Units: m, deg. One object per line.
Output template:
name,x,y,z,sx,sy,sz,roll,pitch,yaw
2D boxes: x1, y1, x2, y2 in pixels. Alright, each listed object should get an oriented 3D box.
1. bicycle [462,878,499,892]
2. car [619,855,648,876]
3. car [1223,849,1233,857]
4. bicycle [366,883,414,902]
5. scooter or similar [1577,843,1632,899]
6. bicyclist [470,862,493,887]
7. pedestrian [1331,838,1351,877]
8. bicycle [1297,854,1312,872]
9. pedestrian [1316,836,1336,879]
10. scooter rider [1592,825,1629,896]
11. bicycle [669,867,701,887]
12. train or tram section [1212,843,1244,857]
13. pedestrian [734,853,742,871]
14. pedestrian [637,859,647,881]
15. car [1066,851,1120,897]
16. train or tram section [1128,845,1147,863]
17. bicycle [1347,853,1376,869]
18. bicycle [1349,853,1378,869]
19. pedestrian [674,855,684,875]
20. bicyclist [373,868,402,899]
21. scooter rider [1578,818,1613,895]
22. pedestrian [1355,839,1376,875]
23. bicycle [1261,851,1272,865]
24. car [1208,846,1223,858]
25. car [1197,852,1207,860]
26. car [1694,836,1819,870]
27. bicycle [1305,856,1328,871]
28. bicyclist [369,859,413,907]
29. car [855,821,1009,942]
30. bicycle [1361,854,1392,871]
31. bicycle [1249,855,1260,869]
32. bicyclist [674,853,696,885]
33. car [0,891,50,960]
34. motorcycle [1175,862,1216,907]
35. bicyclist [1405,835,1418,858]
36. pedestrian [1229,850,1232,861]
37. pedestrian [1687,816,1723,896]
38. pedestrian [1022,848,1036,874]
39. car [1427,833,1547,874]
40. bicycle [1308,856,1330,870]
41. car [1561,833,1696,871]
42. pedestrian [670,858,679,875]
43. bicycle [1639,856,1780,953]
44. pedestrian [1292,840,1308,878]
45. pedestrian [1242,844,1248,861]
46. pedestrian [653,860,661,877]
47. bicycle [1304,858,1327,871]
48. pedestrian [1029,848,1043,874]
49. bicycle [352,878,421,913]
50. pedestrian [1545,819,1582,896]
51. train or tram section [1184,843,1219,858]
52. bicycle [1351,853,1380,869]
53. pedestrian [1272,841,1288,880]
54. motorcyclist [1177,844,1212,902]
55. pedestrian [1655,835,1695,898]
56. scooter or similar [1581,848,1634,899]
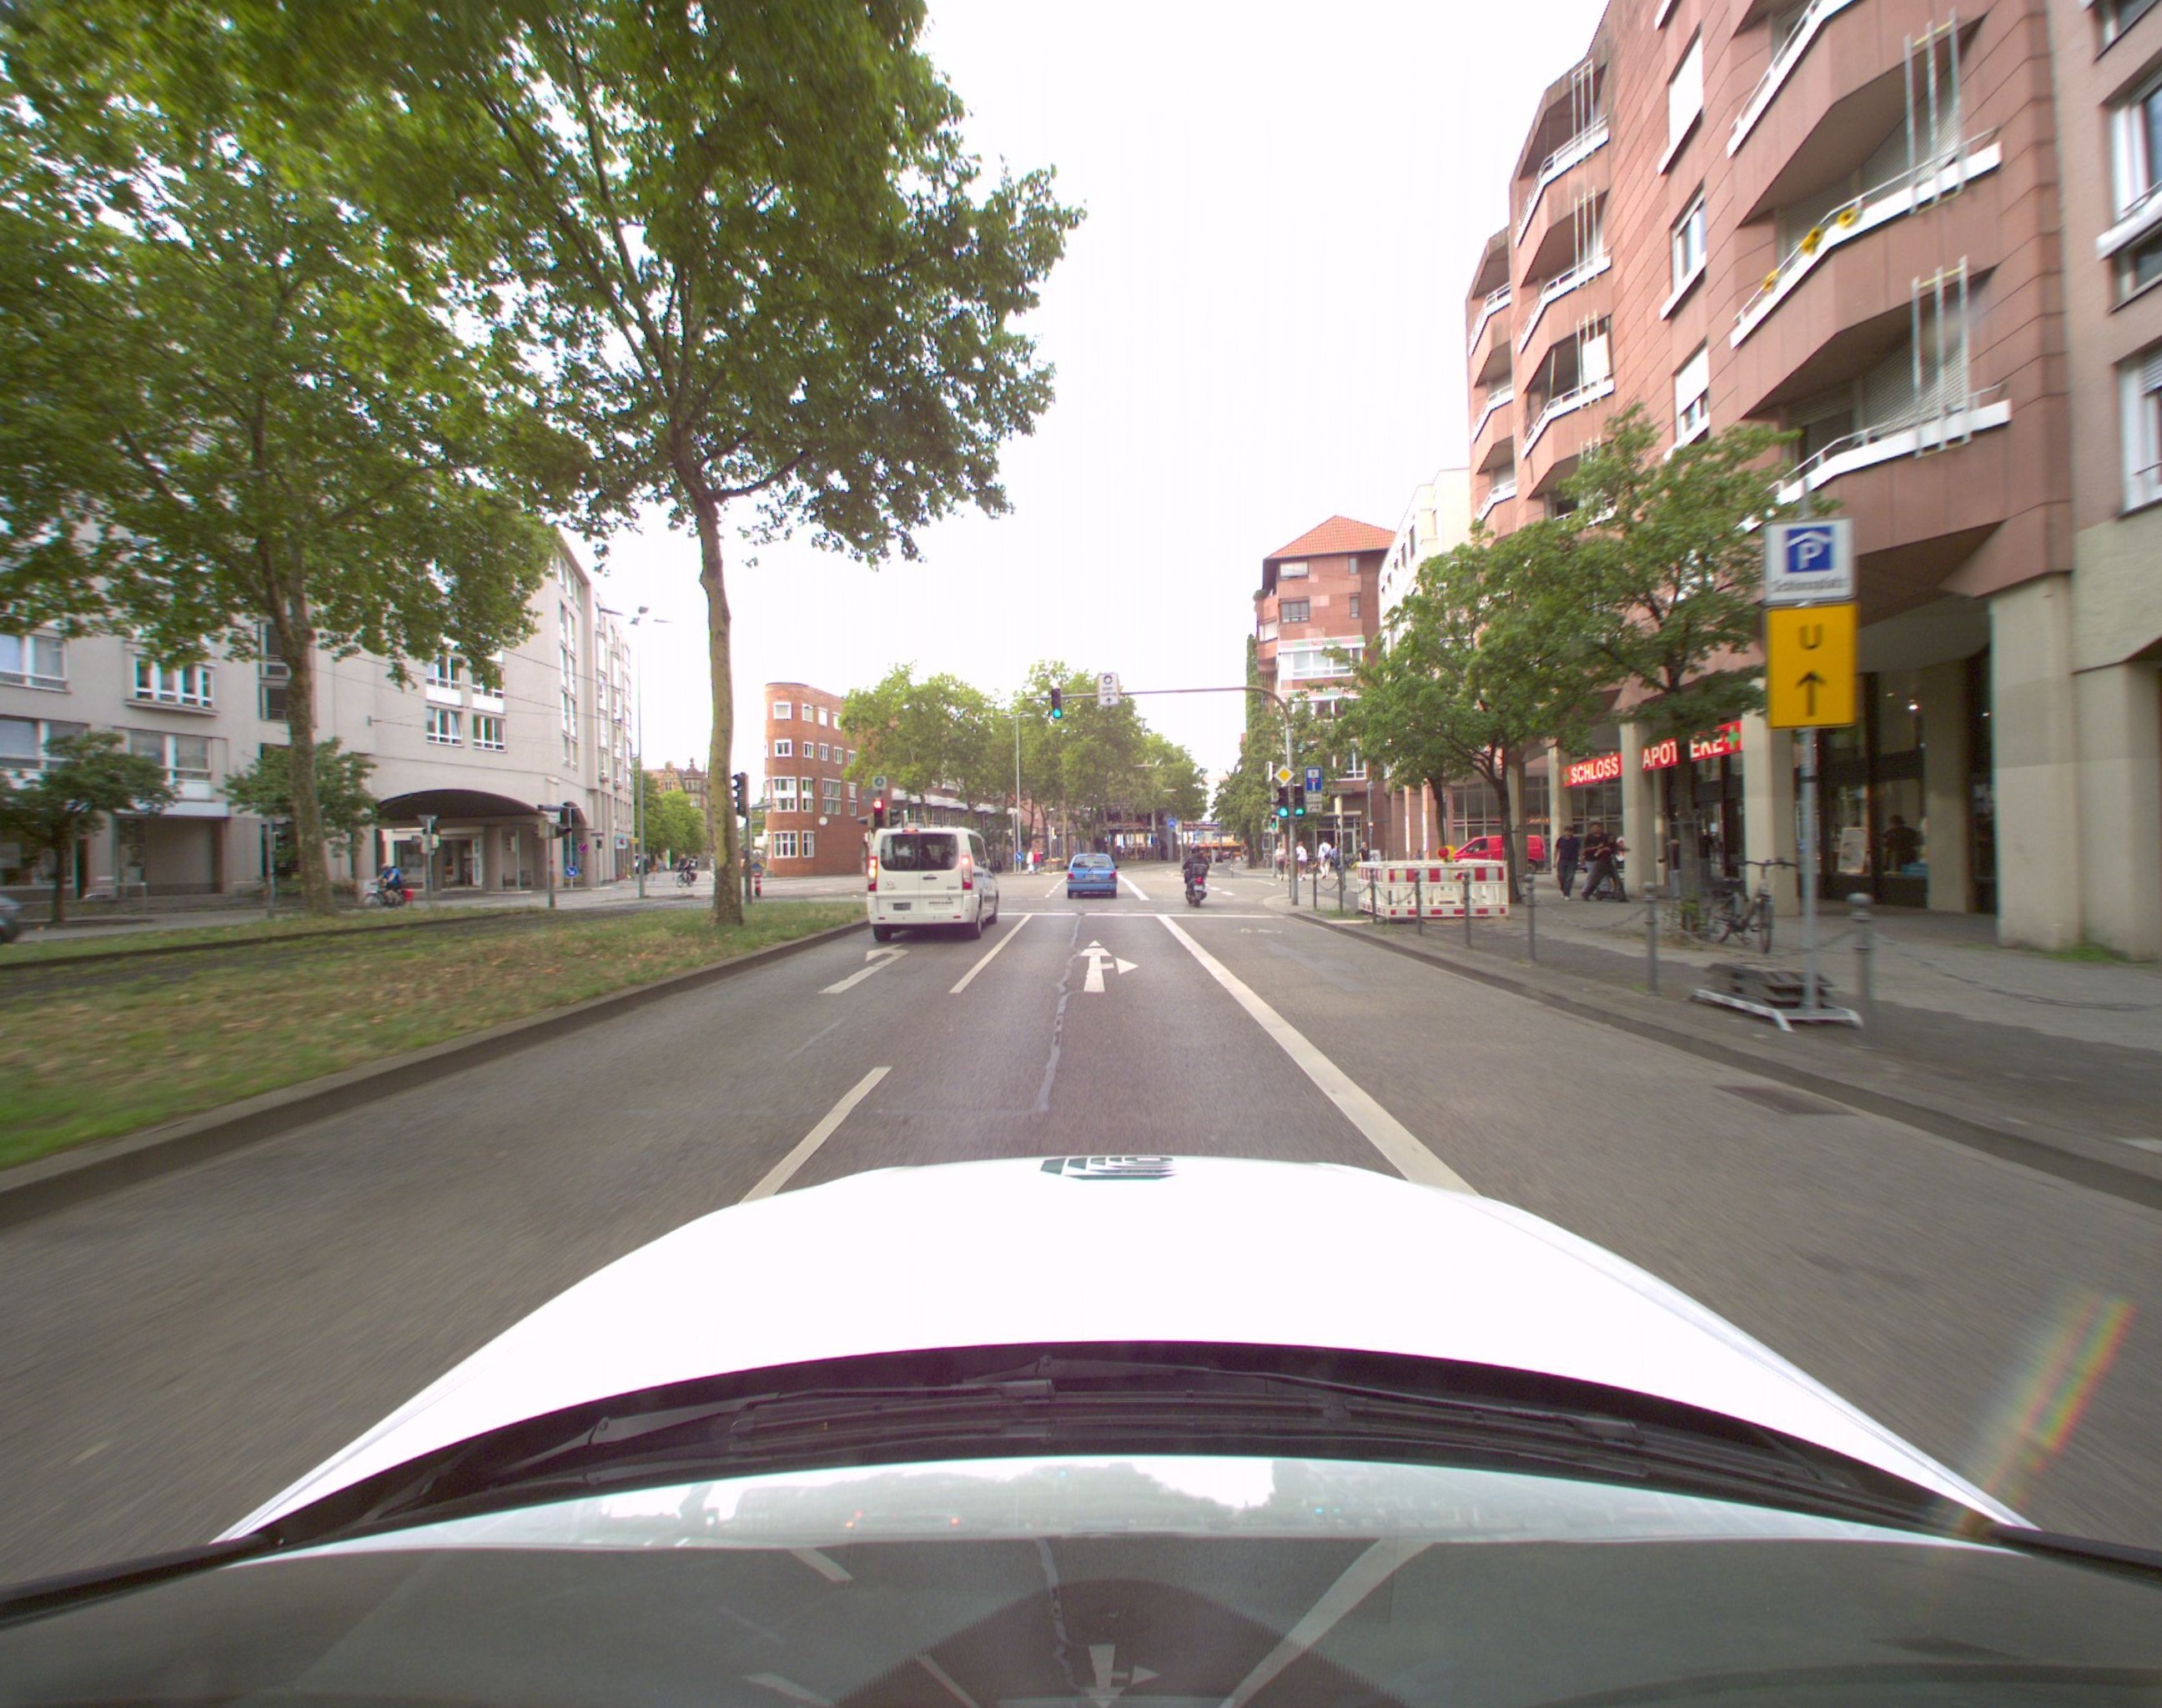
bicycle,-37.478,1.939,50.821,1.969,0.836,0.580,-1,0,9
car,-43.774,1.149,79.712,2.003,1.936,4.906,-1,0,-24
car,30.280,-0.232,167.535,1.687,1.601,4.014,-1,0,13
bicycle,-35.961,1.991,42.378,2.164,0.911,0.769,-1,0,14
scooter or similar,11.831,0.371,18.435,0.471,1.206,1.332,-1,0,5
bicyclist,-37.372,1.281,50.794,1.024,1.562,0.584,-2,0,9
pedestrian,11.442,0.152,35.845,0.648,1.701,1.024,-1,0,9
bicycle,13.532,0.532,49.334,0.614,1.008,1.738,-1,0,6
pedestrian,10.732,0.137,35.626,0.672,1.828,0.852,-1,0,8
scooter rider,11.797,0.143,18.161,0.458,1.557,0.566,-1,0,6
bicycle,-23.985,1.396,49.379,0.674,1.093,2.213,-2,0,6
train or tram section,36.227,-1.022,200.937,8.389,3.254,2.373,-2,0,-32
pedestrian,-35.156,0.796,83.558,0.696,1.817,0.650,-1,0,-26
pedestrian,-34.257,1.235,63.558,0.677,1.679,0.746,-1,0,-26
car,0.408,0.608,26.862,1.634,1.386,3.844,-1,0,1
train or tram section,10.859,-0.010,156.743,2.373,3.253,8.847,-2,0,12
bicycle,18.781,0.488,54.521,1.720,1.008,0.431,-1,0,7
bicycle,18.731,0.487,54.020,1.720,1.008,0.438,-1,0,7
pedestrian,-39.071,1.066,79.212,0.793,1.963,0.799,-1,0,-24
bicyclist,-36.102,1.527,42.391,0.873,1.539,0.771,-1,0,14
scooter rider,11.832,0.056,18.742,0.460,1.720,0.554,-1,0,5
pedestrian,12.460,0.135,35.634,0.672,1.538,0.949,-1,0,8
bicycle,13.880,0.308,60.920,0.613,1.008,1.738,-1,0,7
car,18.502,-0.339,111.702,1.687,1.601,4.014,-1,0,13
car,25.557,0.464,171.874,1.873,1.624,4.014,-1,0,13
car,30.249,0.000,36.588,3.940,1.405,1.732,-1,-2,13
bicycle,14.914,0.578,51.640,1.287,0.868,0.456,-4,-1,23
bicyclist,-24.414,1.016,28.834,0.686,1.672,0.954,-1,0,5
car,-2.649,0.417,15.770,1.925,1.925,4.957,-2,1,1
bicycle,18.340,0.513,50.491,1.720,1.008,0.547,-1,0,7
bicycle,13.024,0.619,61.019,0.613,1.008,1.738,-1,0,7
bicyclist,-24.004,0.899,49.333,0.663,1.848,1.083,-2,0,5
car,-21.158,1.390,13.734,1.723,1.245,4.534,-1,0,0
motorcycle,3.063,0.792,21.961,0.765,1.107,2.208,-2,0,0
bicyclist,18.088,-0.390,44.555,0.491,1.244,0.483,-1,0,38
pedestrian,23.971,0.256,130.537,0.506,1.759,0.541,-2,-1,12
pedestrian,14.342,0.045,18.722,0.546,1.799,0.662,-1,0,31
pedestrian,-3.425,0.445,53.636,0.548,1.718,0.895,-1,0,18
car,19.331,0.001,38.980,4.793,1.826,2.007,-1,-2,13
bicycle,14.775,0.585,50.495,1.288,0.838,0.456,-1,0,18
car,25.345,-0.049,37.888,4.793,1.590,2.007,-1,-2,13
pedestrian,-50.118,1.568,100.307,0.867,2.013,1.334,-1,0,-23
bicycle,8.006,0.598,10.475,0.609,1.118,1.809,-1,0,8
pedestrian,9.397,0.223,34.983,0.514,1.616,0.852,-1,0,7
pedestrian,18.351,-0.155,91.314,0.642,1.858,0.785,-1,0,11
pedestrian,-43.411,1.510,83.411,0.696,1.671,0.825,-1,0,-26
bicycle,14.705,0.661,51.106,1.287,0.814,0.447,-1,0,23
pedestrian,-3.014,0.446,54.469,0.547,1.718,0.896,-1,0,27
bicycle,-24.414,1.439,28.683,0.687,1.092,1.880,-1,0,5
pedestrian,11.536,0.087,19.491,0.548,1.799,0.660,-1,0,12
train or tram section,29.018,-0.867,196.371,8.849,3.254,2.372,-2,0,-32
bicycle,18.707,0.487,53.503,1.720,1.008,0.472,-1,0,7
pedestrian,8.574,0.271,35.127,0.514,1.616,0.852,-1,0,6
motorcyclist,3.055,0.502,21.915,0.757,1.519,1.017,-2,0,0
pedestrian,12.818,0.259,17.586,0.485,1.324,0.485,-1,0,-1
scooter or similar,12.519,0.448,19.399,0.550,1.170,1.410,-1,0,10
